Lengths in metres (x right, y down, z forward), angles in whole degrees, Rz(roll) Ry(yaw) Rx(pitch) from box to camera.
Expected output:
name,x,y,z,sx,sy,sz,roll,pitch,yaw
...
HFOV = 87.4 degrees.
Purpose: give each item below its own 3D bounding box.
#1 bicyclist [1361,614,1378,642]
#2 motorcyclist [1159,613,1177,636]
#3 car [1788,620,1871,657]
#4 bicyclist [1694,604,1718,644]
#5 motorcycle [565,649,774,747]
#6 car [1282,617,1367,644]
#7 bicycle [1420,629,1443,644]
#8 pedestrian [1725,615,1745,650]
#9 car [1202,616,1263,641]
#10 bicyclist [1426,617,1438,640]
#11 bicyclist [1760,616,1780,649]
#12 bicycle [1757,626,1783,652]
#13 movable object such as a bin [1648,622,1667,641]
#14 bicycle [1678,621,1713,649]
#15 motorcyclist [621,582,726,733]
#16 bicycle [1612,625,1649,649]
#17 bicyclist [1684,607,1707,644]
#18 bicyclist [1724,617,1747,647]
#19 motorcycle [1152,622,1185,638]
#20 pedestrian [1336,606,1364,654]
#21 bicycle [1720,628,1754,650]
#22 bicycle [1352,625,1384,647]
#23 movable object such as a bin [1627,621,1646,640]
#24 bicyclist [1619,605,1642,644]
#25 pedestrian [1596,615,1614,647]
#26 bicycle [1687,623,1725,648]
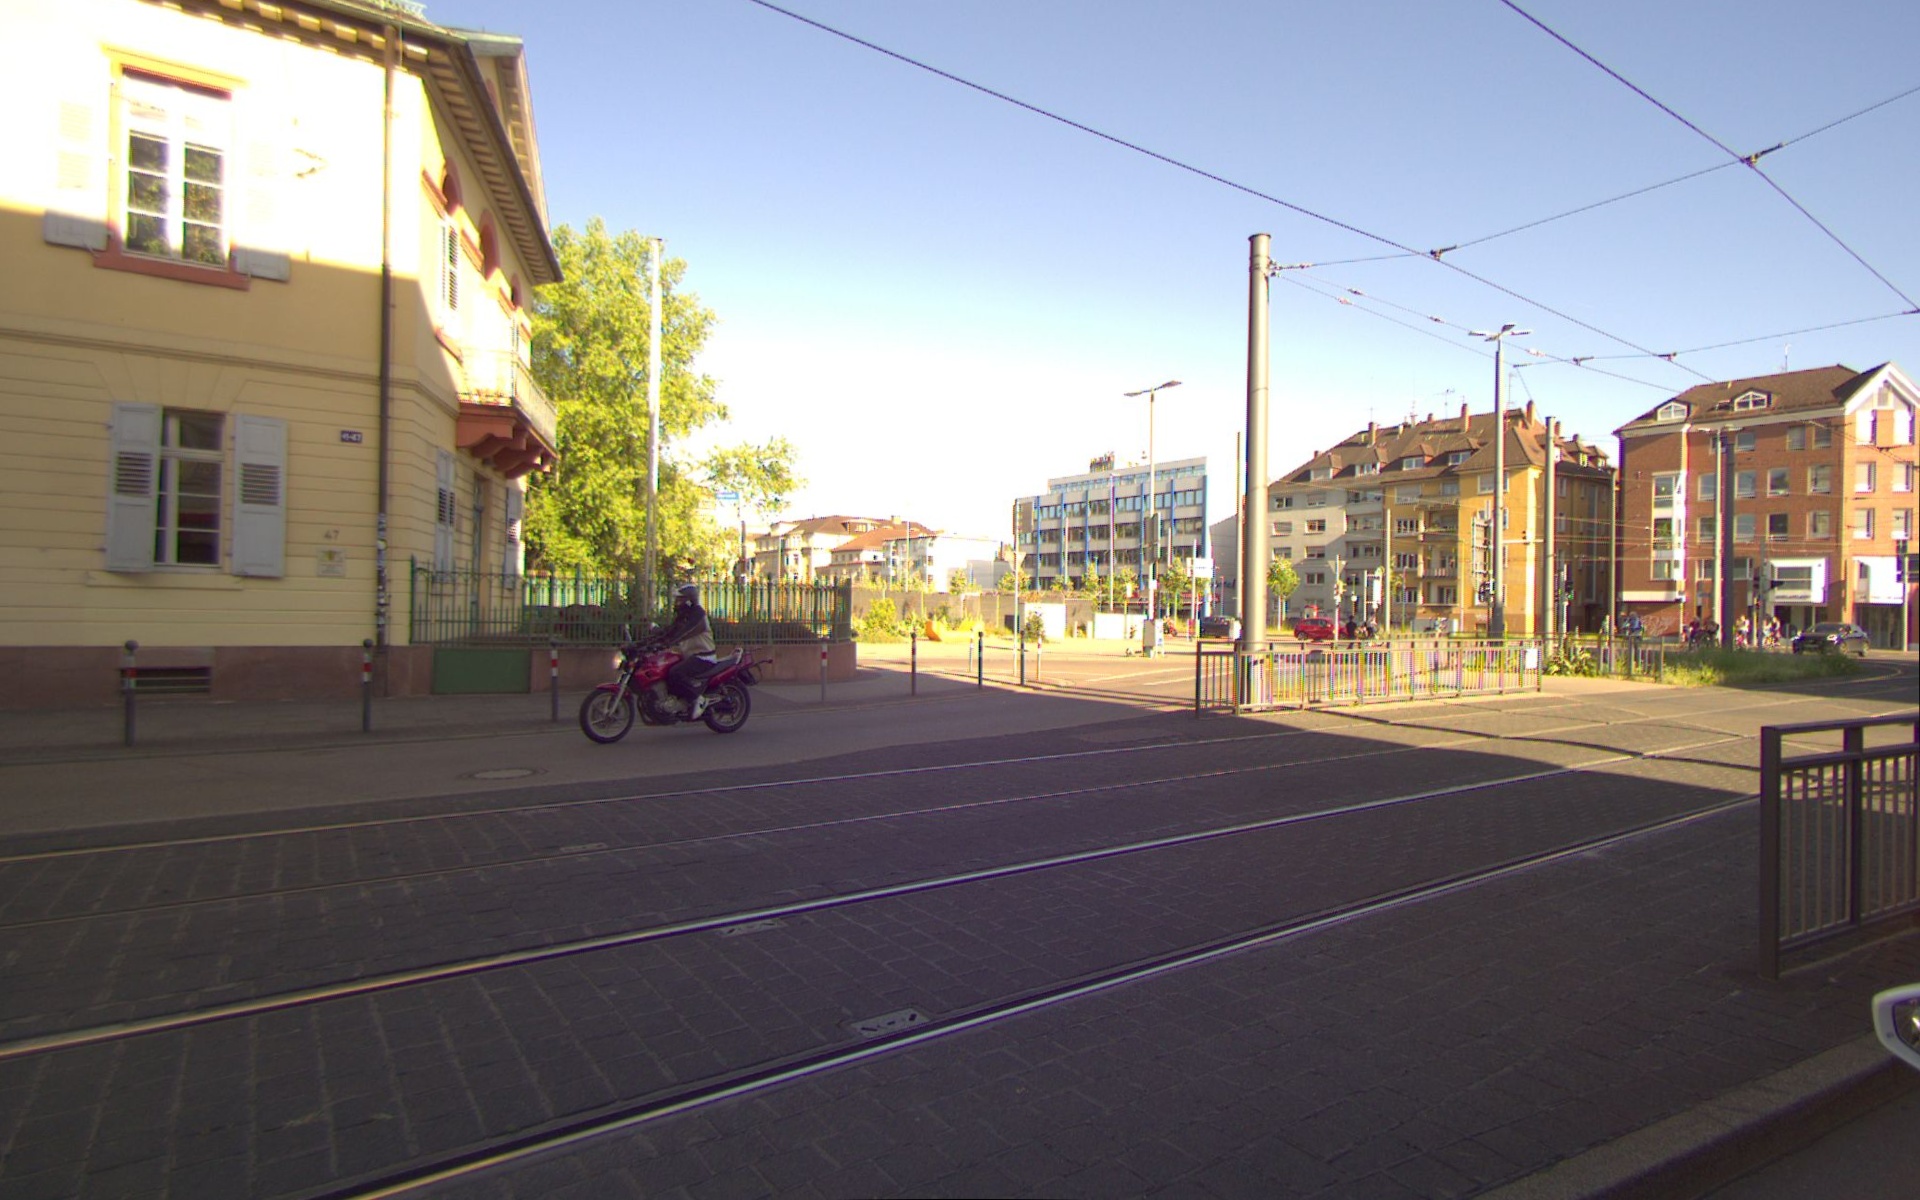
name,x,y,z,sx,sy,sz,roll,pitch,yaw
bicyclist,22.221,1.532,54.535,0.605,1.513,0.608,2,0,-44
motorcyclist,14.456,1.722,69.733,0.775,1.544,0.914,2,0,-36
car,40.105,1.764,46.300,4.074,1.581,1.676,2,0,-30
bicyclist,31.521,1.010,42.436,0.761,1.695,0.522,2,0,-28
motorcycle,-3.136,1.027,11.015,2.139,0.939,0.594,2,0,-41
car,21.699,1.802,59.909,1.768,1.529,4.513,1,-2,-39
bicycle,27.279,2.109,58.155,1.160,0.774,0.318,2,0,45
pedestrian,45.431,1.886,58.875,0.819,2.040,0.592,2,0,-27
car,17.762,1.820,65.547,1.560,1.491,3.673,2,0,-36
bicyclist,27.320,1.649,58.147,0.453,1.333,0.397,2,0,44
bicyclist,41.502,1.673,51.438,0.799,1.671,0.584,2,0,-37
bicycle,41.525,2.016,51.478,2.008,1.308,0.569,2,0,-37
movable object such as a bin,55.471,2.474,79.886,1.087,1.456,0.988,2,0,-39
bicycle,33.929,1.620,46.316,1.862,1.230,0.527,2,0,-29
motorcyclist,-3.137,0.606,11.000,0.877,1.579,0.646,2,0,-41
bicycle,29.645,1.630,44.405,1.862,1.027,0.527,2,0,-29
bicyclist,33.892,1.178,46.284,0.761,1.695,0.518,2,0,-29
bicyclist,38.772,1.589,50.196,0.721,1.473,0.661,2,0,-29
motorcycle,14.461,2.078,69.723,0.784,0.997,2.342,2,0,-36
pedestrian,16.274,1.262,41.928,0.784,1.959,0.724,2,0,-9
bicycle,38.893,1.960,50.273,1.862,1.027,0.647,2,0,-29
bicycle,22.169,1.928,54.579,0.608,1.148,1.481,2,-1,-43
movable object such as a bin,54.585,2.459,81.006,1.087,1.456,0.988,2,0,-39
bicyclist,29.636,1.095,44.392,0.761,1.695,0.518,2,0,-29
pedestrian,35.344,1.712,55.039,0.700,1.711,0.619,-1,2,-42
bicycle,31.509,1.506,42.441,1.873,1.027,0.527,2,0,-29
